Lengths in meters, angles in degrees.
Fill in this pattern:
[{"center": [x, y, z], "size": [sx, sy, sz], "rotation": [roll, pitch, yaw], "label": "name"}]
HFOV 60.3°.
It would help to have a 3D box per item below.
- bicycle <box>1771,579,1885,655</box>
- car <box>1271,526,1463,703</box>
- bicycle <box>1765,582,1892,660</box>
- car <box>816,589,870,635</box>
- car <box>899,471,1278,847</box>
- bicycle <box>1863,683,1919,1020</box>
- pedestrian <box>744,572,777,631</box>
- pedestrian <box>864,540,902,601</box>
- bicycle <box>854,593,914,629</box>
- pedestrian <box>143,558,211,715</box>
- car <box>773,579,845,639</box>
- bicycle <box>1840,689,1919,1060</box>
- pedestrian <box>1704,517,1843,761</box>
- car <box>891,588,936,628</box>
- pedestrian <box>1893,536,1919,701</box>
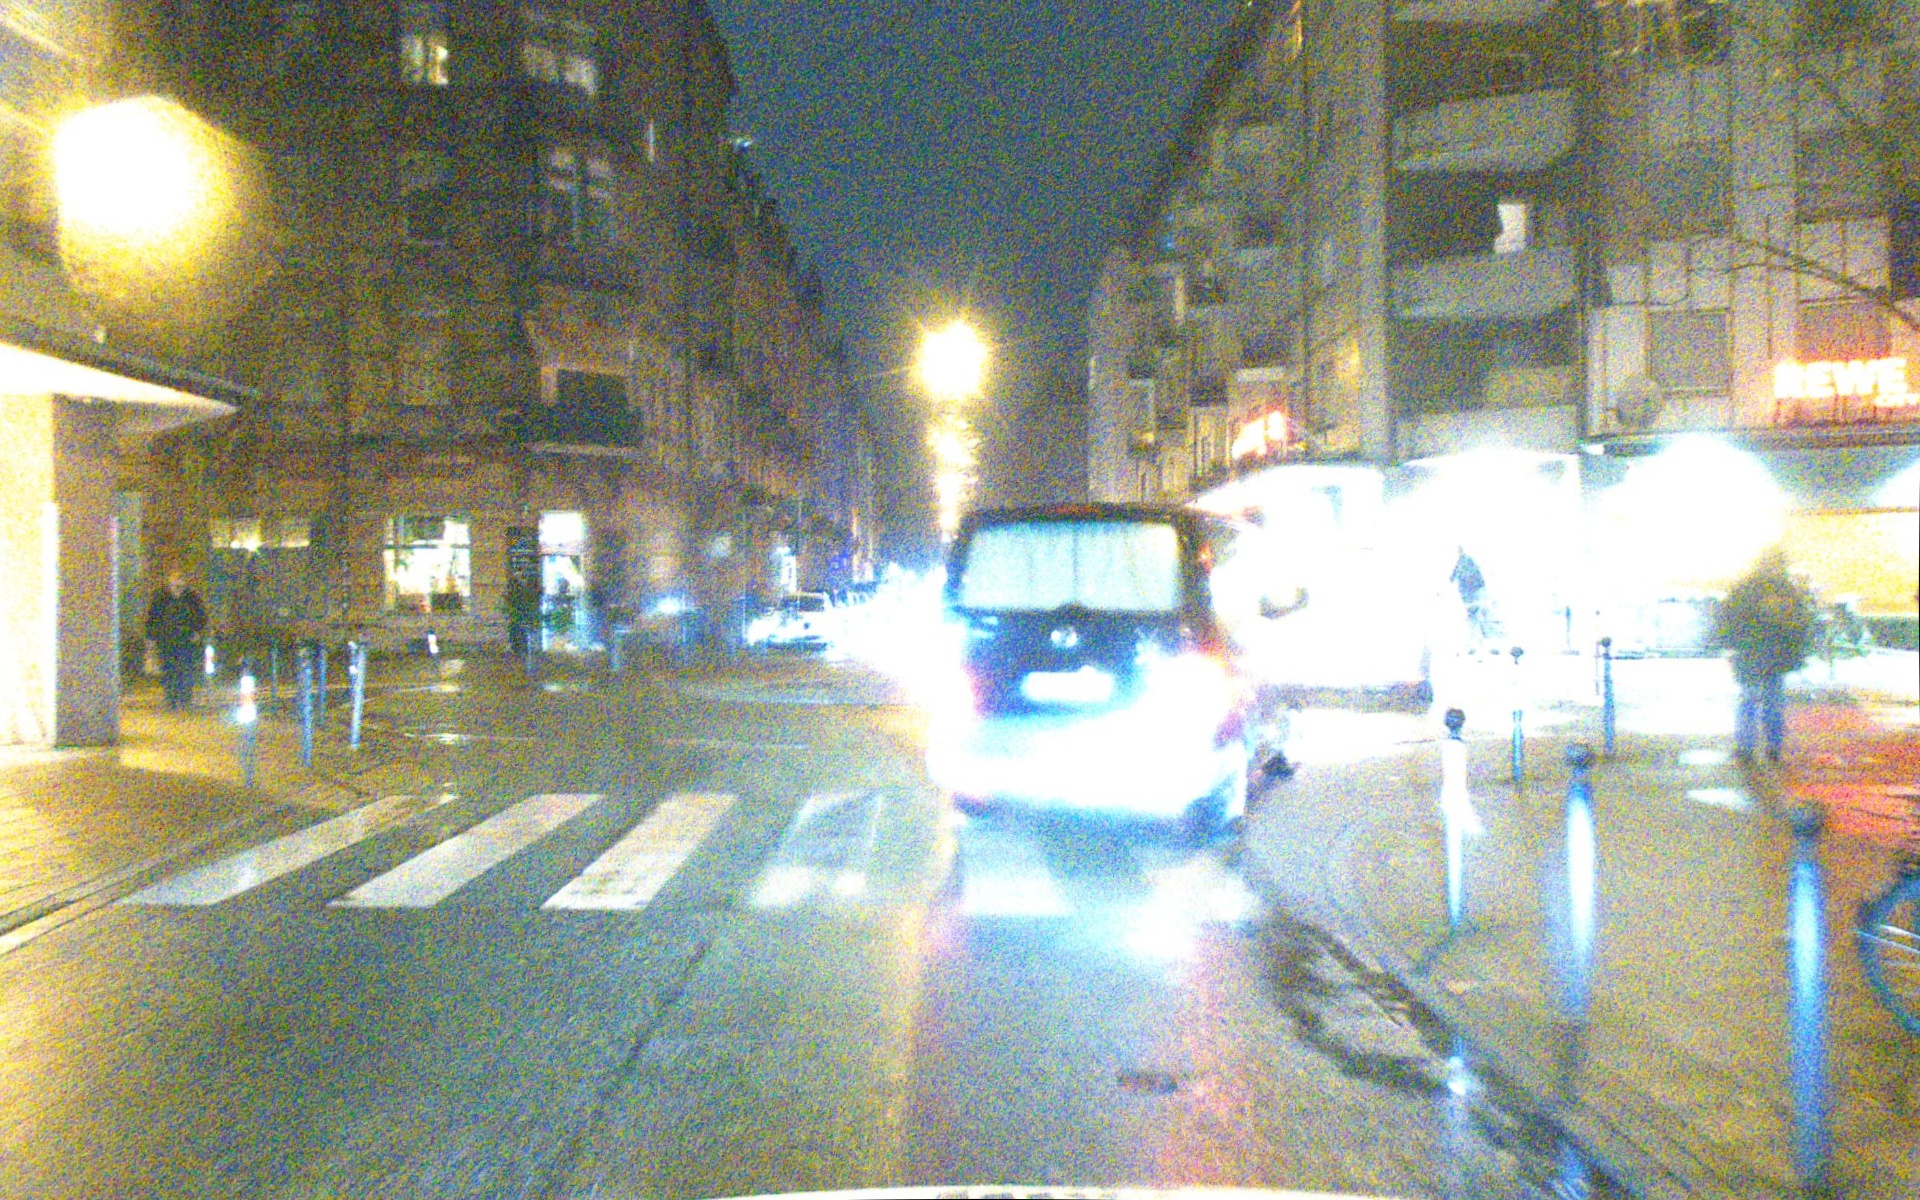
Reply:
[{"center": [14.113, 0.272, 26.917], "size": [1.610, 1.194, 0.383], "rotation": [1, -2, 28], "label": "bicycle"}, {"center": [5.025, 0.137, 20.868], "size": [2.077, 1.956, 4.830], "rotation": [0, 0, 12], "label": "car"}, {"center": [13.585, 0.324, 25.909], "size": [1.747, 1.194, 0.384], "rotation": [0, 0, 28], "label": "bicycle"}, {"center": [-3.825, 0.366, 54.537], "size": [1.554, 1.474, 3.503], "rotation": [0, 0, 0], "label": "car"}, {"center": [1.034, 0.305, 11.345], "size": [2.077, 2.026, 4.605], "rotation": [0, 0, 9], "label": "car"}, {"center": [3.615, 0.771, 4.860], "size": [0.333, 1.044, 1.619], "rotation": [-2, -1, -45], "label": "bicycle"}, {"center": [-6.237, 0.041, 51.836], "size": [0.787, 1.797, 1.016], "rotation": [1, 0, 5], "label": "pedestrian"}, {"center": [-2.356, -0.892, 50.579], "size": [1.099, 1.843, 0.715], "rotation": [-1, 0, 0], "label": "pedestrian"}, {"center": [-2.312, 0.339, 50.598], "size": [1.759, 1.078, 0.715], "rotation": [-1, 1, 1], "label": "bicycle"}, {"center": [-9.898, 0.447, 20.898], "size": [0.648, 1.942, 0.620], "rotation": [1, 0, -38], "label": "pedestrian"}, {"center": [-4.101, 0.220, 45.364], "size": [1.554, 1.489, 4.024], "rotation": [3, 0, 0], "label": "car"}, {"center": [3.324, 0.801, 4.483], "size": [1.618, 1.044, 0.334], "rotation": [0, 1, 44], "label": "bicycle"}, {"center": [6.188, 0.284, 12.612], "size": [0.808, 1.802, 0.600], "rotation": [1, 0, 12], "label": "pedestrian"}, {"center": [-1.788, 0.286, 64.452], "size": [1.531, 1.452, 4.070], "rotation": [-2, 0, 1], "label": "car"}, {"center": [11.245, 0.205, 18.949], "size": [0.861, 1.865, 0.980], "rotation": [-1, 0, 35], "label": "pedestrian"}]
